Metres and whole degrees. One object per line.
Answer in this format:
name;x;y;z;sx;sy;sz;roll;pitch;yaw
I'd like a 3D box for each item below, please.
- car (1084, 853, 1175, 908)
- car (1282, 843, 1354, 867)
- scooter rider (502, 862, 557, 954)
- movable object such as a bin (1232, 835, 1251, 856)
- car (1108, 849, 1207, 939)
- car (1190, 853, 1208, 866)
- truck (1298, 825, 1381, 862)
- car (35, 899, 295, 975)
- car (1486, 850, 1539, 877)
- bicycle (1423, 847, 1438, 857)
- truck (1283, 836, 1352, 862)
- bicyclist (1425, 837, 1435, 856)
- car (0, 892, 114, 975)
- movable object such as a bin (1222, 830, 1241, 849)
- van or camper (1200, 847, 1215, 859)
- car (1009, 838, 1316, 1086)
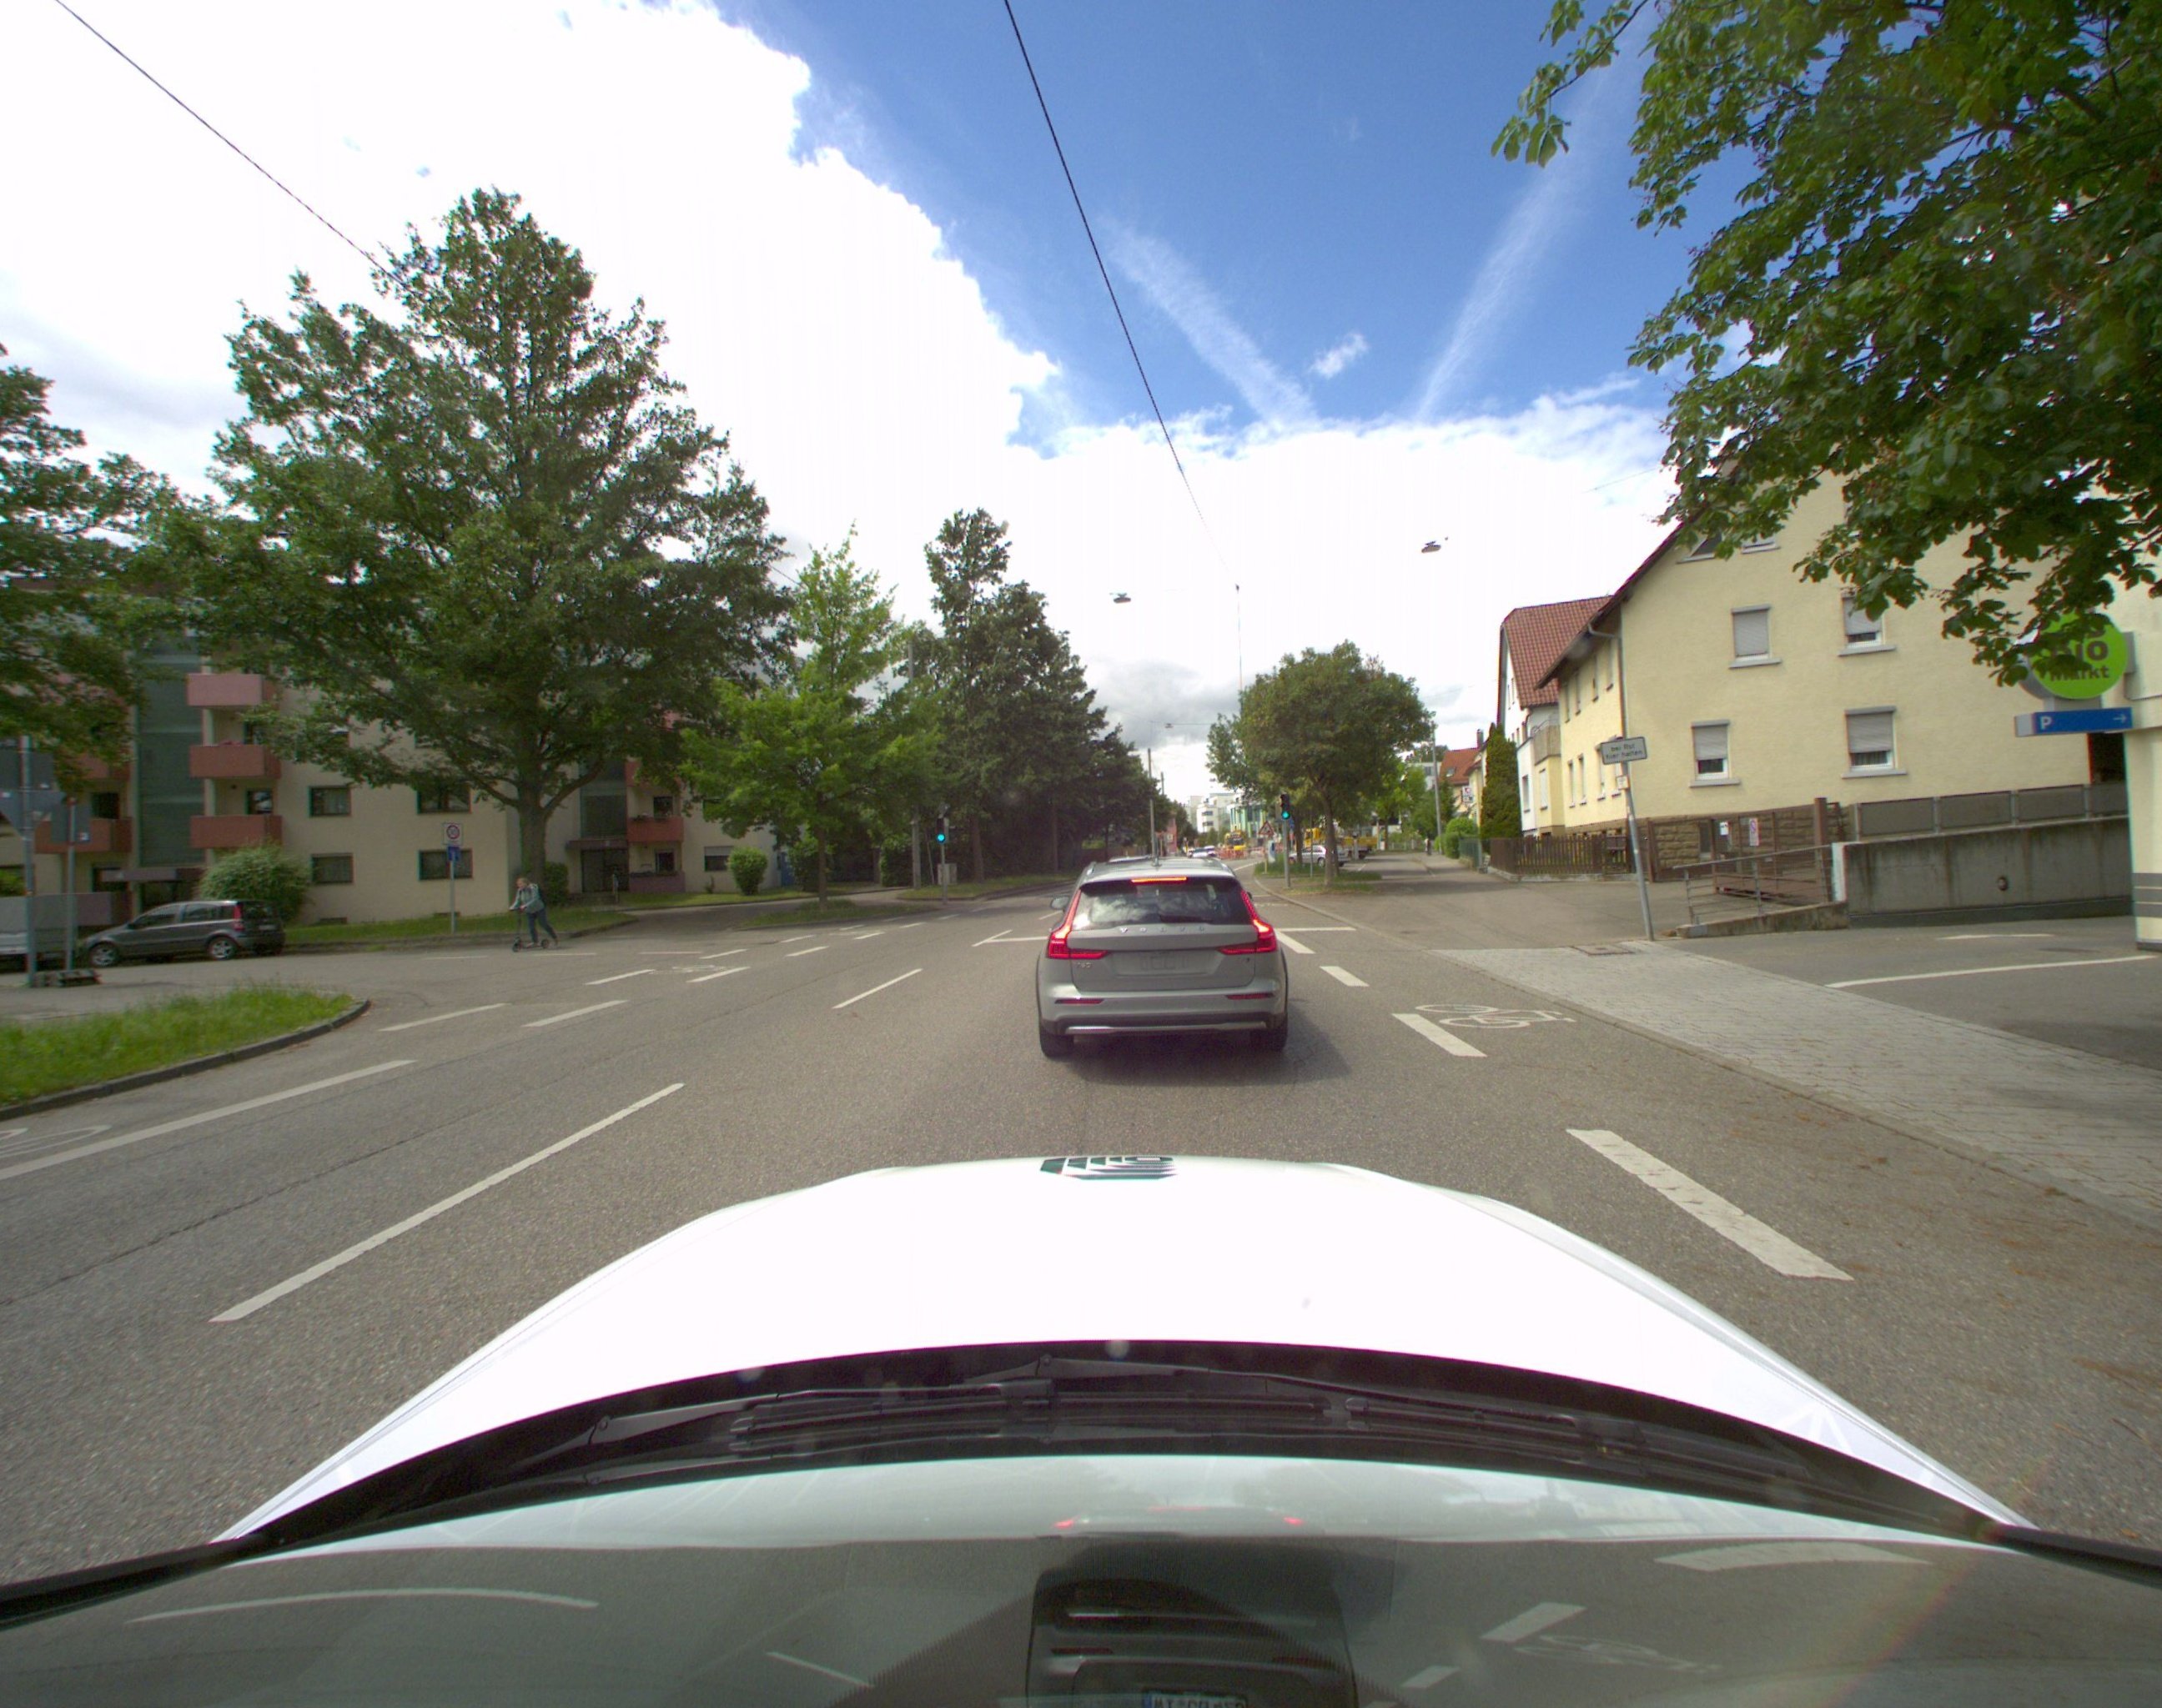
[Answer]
car;1.559;0.754;24.521;2.088;1.510;4.014;0;-1;13
car;15.633;0.101;53.997;1.773;1.451;4.644;-2;0;-30
scooter rider;-12.384;1.185;18.303;0.674;2.014;0.794;0;-1;1
movable object such as a bin;21.497;-1.098;108.845;2.020;2.642;5.961;-3;0;13
car;1.436;0.687;15.479;1.653;1.508;3.707;0;-1;5
car;13.422;0.676;92.699;1.816;1.330;4.012;0;-2;11
truck;22.198;-0.823;70.212;2.780;3.008;6.639;0;-1;-32
car;-22.766;2.022;20.434;3.995;1.452;1.687;-3;0;-16
car;19.149;0.425;36.285;1.450;1.124;3.889;0;-1;18
bicycle;29.179;-0.143;68.020;0.592;0.812;1.754;0;0;1
truck;19.862;-0.377;68.668;2.008;2.014;5.616;0;-1;-35
bicyclist;29.177;-0.653;68.097;0.587;1.559;0.567;0;-1;1
car;-27.069;2.070;19.926;3.990;1.844;1.838;-5;0;-12
movable object such as a bin;24.336;-2.302;132.115;2.299;2.990;6.436;-3;0;5
van or camper;18.560;-0.165;119.567;1.848;1.776;4.395;-2;0;12
car;0.678;0.705;7.282;1.919;1.540;4.005;-3;0;4
